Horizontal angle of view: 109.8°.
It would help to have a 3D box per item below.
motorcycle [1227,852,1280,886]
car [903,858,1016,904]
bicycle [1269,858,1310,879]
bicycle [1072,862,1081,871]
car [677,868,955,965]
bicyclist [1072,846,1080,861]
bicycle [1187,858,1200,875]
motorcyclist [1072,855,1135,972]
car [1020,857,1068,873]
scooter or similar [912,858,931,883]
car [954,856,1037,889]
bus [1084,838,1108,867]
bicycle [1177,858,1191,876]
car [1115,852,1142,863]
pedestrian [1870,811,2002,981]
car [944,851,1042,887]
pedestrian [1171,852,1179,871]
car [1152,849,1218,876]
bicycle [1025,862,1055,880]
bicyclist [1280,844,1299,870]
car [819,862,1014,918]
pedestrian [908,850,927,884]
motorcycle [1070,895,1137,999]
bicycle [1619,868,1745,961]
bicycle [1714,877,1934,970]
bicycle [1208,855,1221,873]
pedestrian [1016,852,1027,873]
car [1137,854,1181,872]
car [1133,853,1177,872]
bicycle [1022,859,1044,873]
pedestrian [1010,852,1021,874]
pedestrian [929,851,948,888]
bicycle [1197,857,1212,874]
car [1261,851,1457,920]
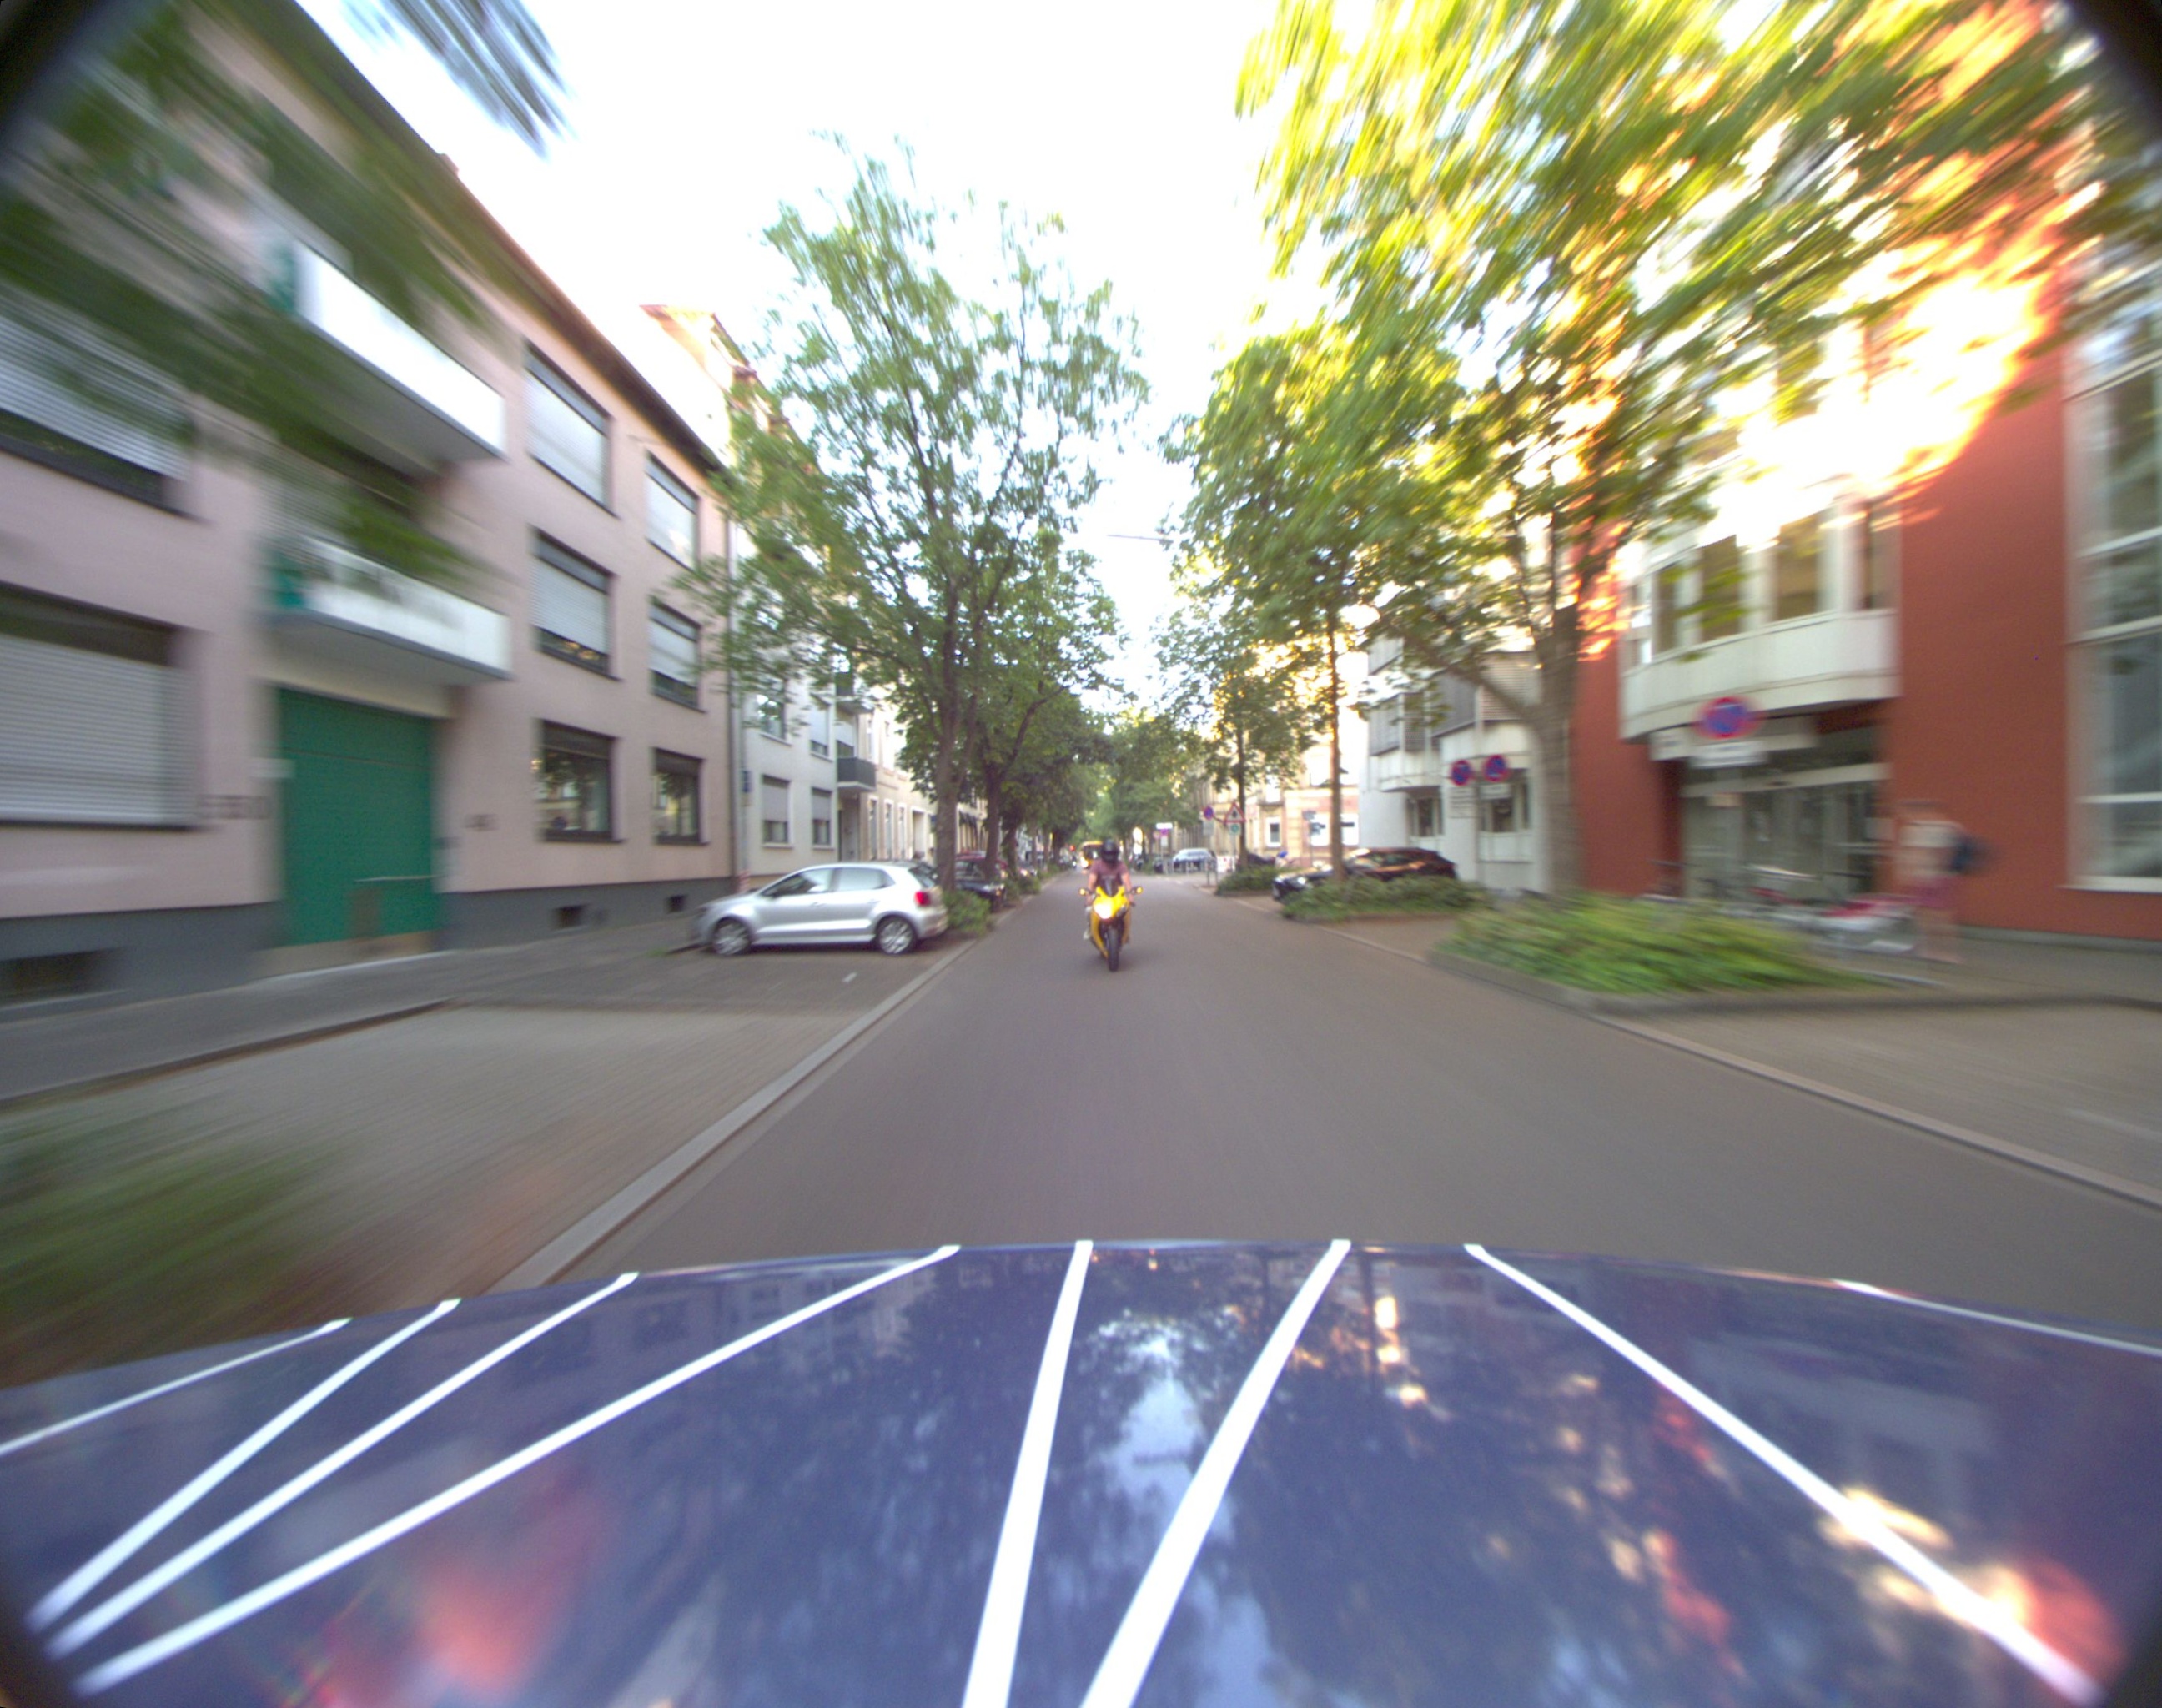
[{"bbox_3d":[7.885,0.671,34.773,2.217,1.473,0.858,-2,-1,-18],"label":"motorcycle"},{"bbox_3d":[-3.960,0.870,25.217,3.492,1.444,1.899,0,0,-1],"label":"car"},{"bbox_3d":[11.251,0.794,40.980,1.972,1.024,0.675,-3,0,28],"label":"bicycle"},{"bbox_3d":[-0.500,1.392,82.934,0.638,0.977,1.980,-3,-1,-11],"label":"bicycle"},{"bbox_3d":[-4.109,0.948,12.329,3.887,1.431,1.847,0,0,-3],"label":"car"},{"bbox_3d":[-0.566,-0.038,82.857,0.638,1.551,0.818,-3,-1,-11],"label":"bicyclist"},{"bbox_3d":[7.519,0.833,50.940,0.523,1.013,1.861,-4,2,1],"label":"bicycle"},{"bbox_3d":[0.287,0.727,9.557,0.737,1.404,0.726,-1,0,2],"label":"motorcyclist"},{"bbox_3d":[-3.511,1.058,72.372,4.412,1.385,1.885,2,0,-1],"label":"car"},{"bbox_3d":[-7.450,0.787,35.495,0.656,1.146,0.831,0,0,1],"label":"scooter or similar"},{"bbox_3d":[-3.756,0.800,33.740,3.492,1.444,1.899,0,0,-1],"label":"car"},{"bbox_3d":[1.729,-0.114,93.602,2.668,3.175,11.899,-3,0,0],"label":"bus"},{"bbox_3d":[6.905,0.869,50.916,0.523,1.053,1.861,-4,2,-2],"label":"bicycle"},{"bbox_3d":[7.710,0.583,123.403,4.180,1.548,1.827,-2,0,3],"label":"car"},{"bbox_3d":[9.251,0.434,8.256,0.704,1.747,0.741,-1,1,24],"label":"pedestrian"},{"bbox_3d":[-4.222,0.729,36.903,4.436,1.646,1.900,-1,0,2],"label":"car"},{"bbox_3d":[8.571,0.673,69.286,0.736,1.728,0.671,-2,0,7],"label":"pedestrian"},{"bbox_3d":[7.351,0.585,54.027,4.436,1.641,1.873,-3,-1,1],"label":"car"},{"bbox_3d":[-2.616,1.104,48.621,1.843,1.129,0.744,0,0,-10],"label":"bicycle"},{"bbox_3d":[11.243,0.142,40.955,0.774,1.355,0.675,-3,0,28],"label":"bicyclist"},{"bbox_3d":[-4.256,0.919,20.208,4.723,1.413,2.036,0,0,1],"label":"car"},{"bbox_3d":[-7.468,0.601,34.696,0.656,1.527,0.831,0,0,1],"label":"pedestrian"},{"bbox_3d":[0.288,1.100,9.491,0.737,1.053,1.964,-1,0,2],"label":"motorcycle"},{"bbox_3d":[8.096,0.783,10.226,1.802,1.101,0.499,-2,0,-23],"label":"bicycle"},{"bbox_3d":[8.779,0.815,9.062,1.796,1.023,0.501,-2,0,23],"label":"bicycle"},{"bbox_3d":[8.937,0.682,50.988,0.518,1.101,1.861,-4,2,1],"label":"bicycle"},{"bbox_3d":[-5.132,0.734,65.383,0.709,1.728,0.725,1,-1,-24],"label":"pedestrian"},{"bbox_3d":[7.277,0.832,71.303,3.954,1.523,1.908,-2,0,2],"label":"car"},{"bbox_3d":[7.569,0.864,77.971,4.211,1.662,1.908,-3,-1,1],"label":"car"},{"bbox_3d":[-4.240,1.048,66.905,1.800,1.225,0.673,2,0,-9],"label":"bicycle"},{"bbox_3d":[-5.221,0.713,60.732,0.779,1.728,0.683,1,-1,-15],"label":"pedestrian"},{"bbox_3d":[-6.684,0.714,35.641,0.693,1.727,0.672,-1,0,-31],"label":"pedestrian"},{"bbox_3d":[8.264,0.760,50.905,0.670,1.056,1.861,-4,2,1],"label":"bicycle"},{"bbox_3d":[6.825,0.748,18.972,4.138,1.477,1.929,-2,0,0],"label":"car"}]
